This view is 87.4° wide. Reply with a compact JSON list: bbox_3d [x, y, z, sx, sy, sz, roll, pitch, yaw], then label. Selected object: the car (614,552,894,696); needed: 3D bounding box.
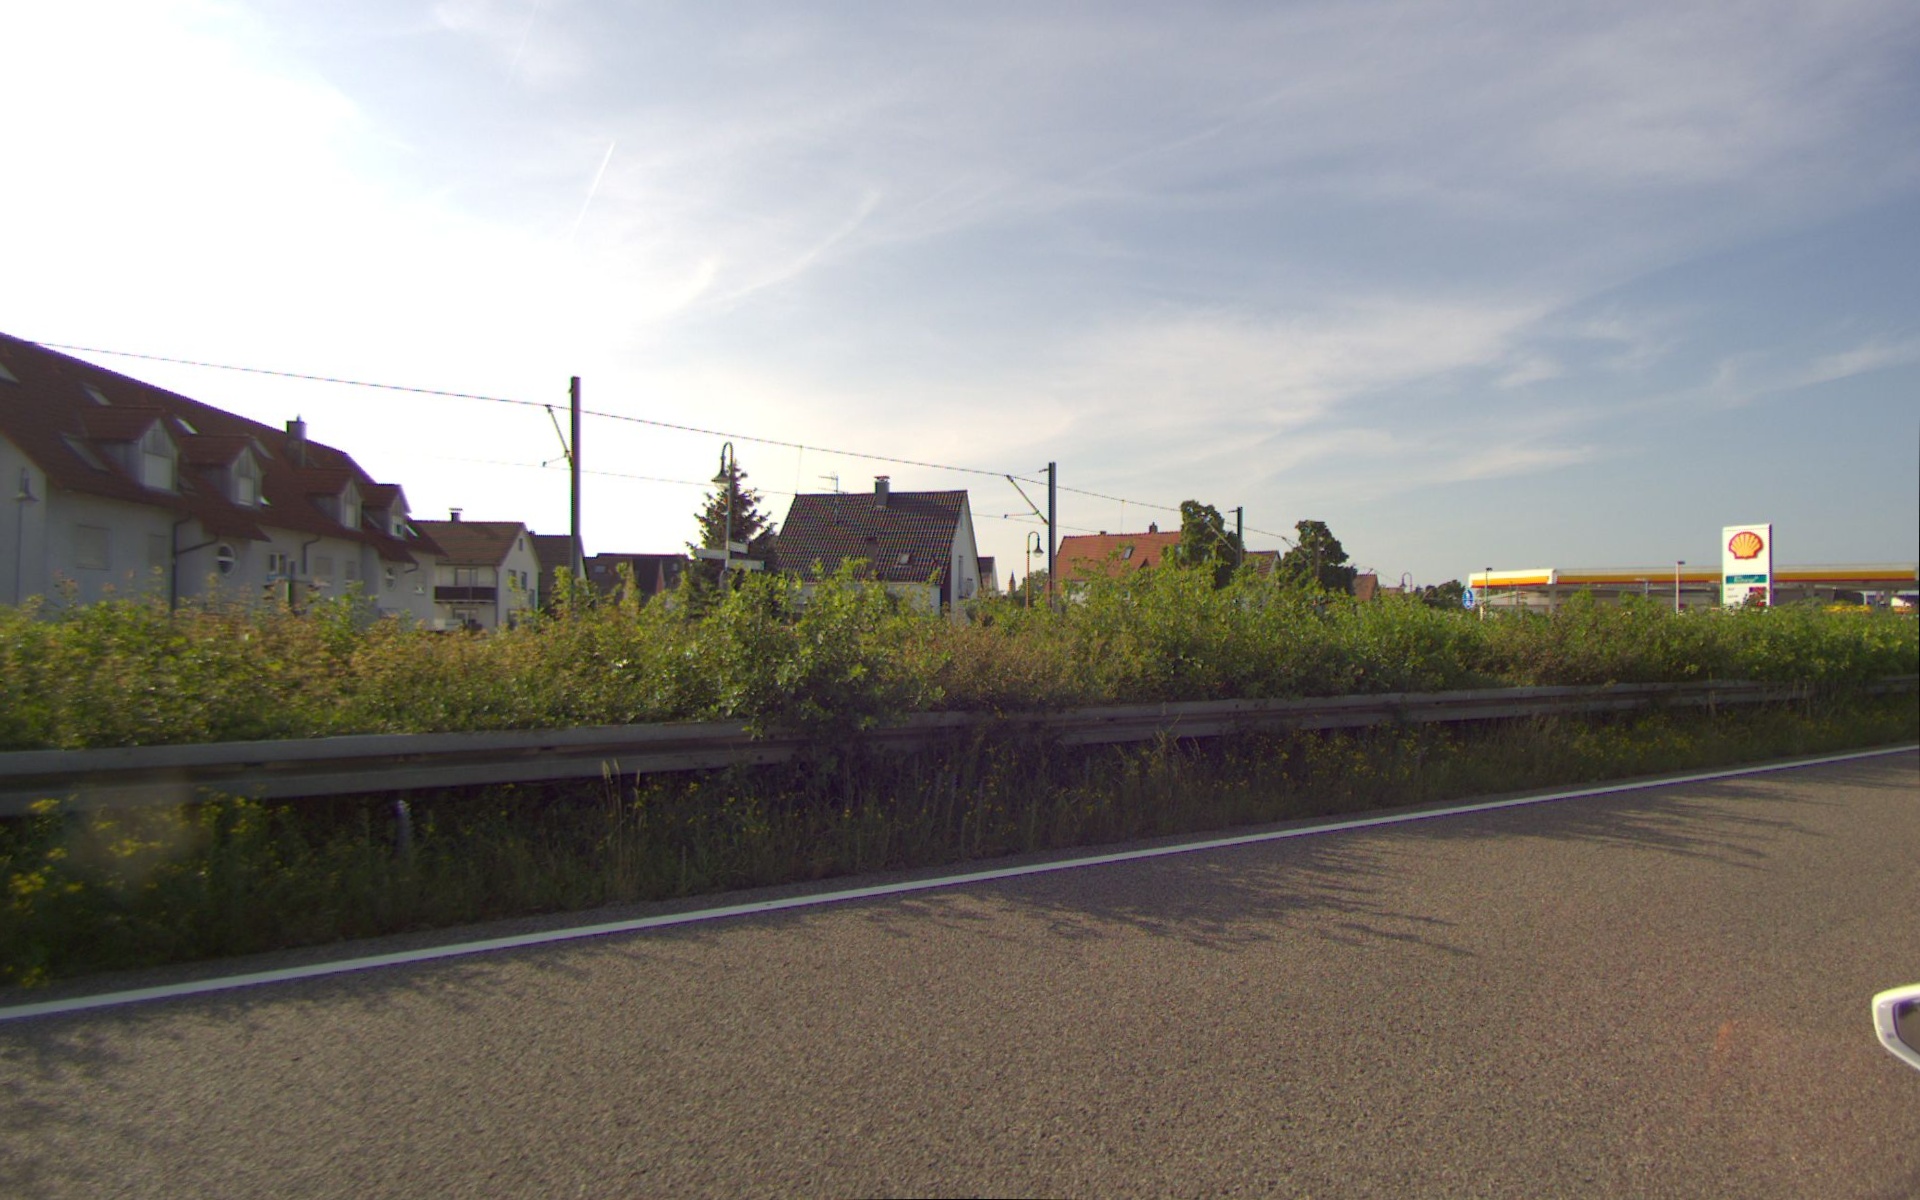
[{"bbox_3d":[-3.284,0.369,16.090,3.953,2.040,1.984,2,0,-30],"label":"car"}]
